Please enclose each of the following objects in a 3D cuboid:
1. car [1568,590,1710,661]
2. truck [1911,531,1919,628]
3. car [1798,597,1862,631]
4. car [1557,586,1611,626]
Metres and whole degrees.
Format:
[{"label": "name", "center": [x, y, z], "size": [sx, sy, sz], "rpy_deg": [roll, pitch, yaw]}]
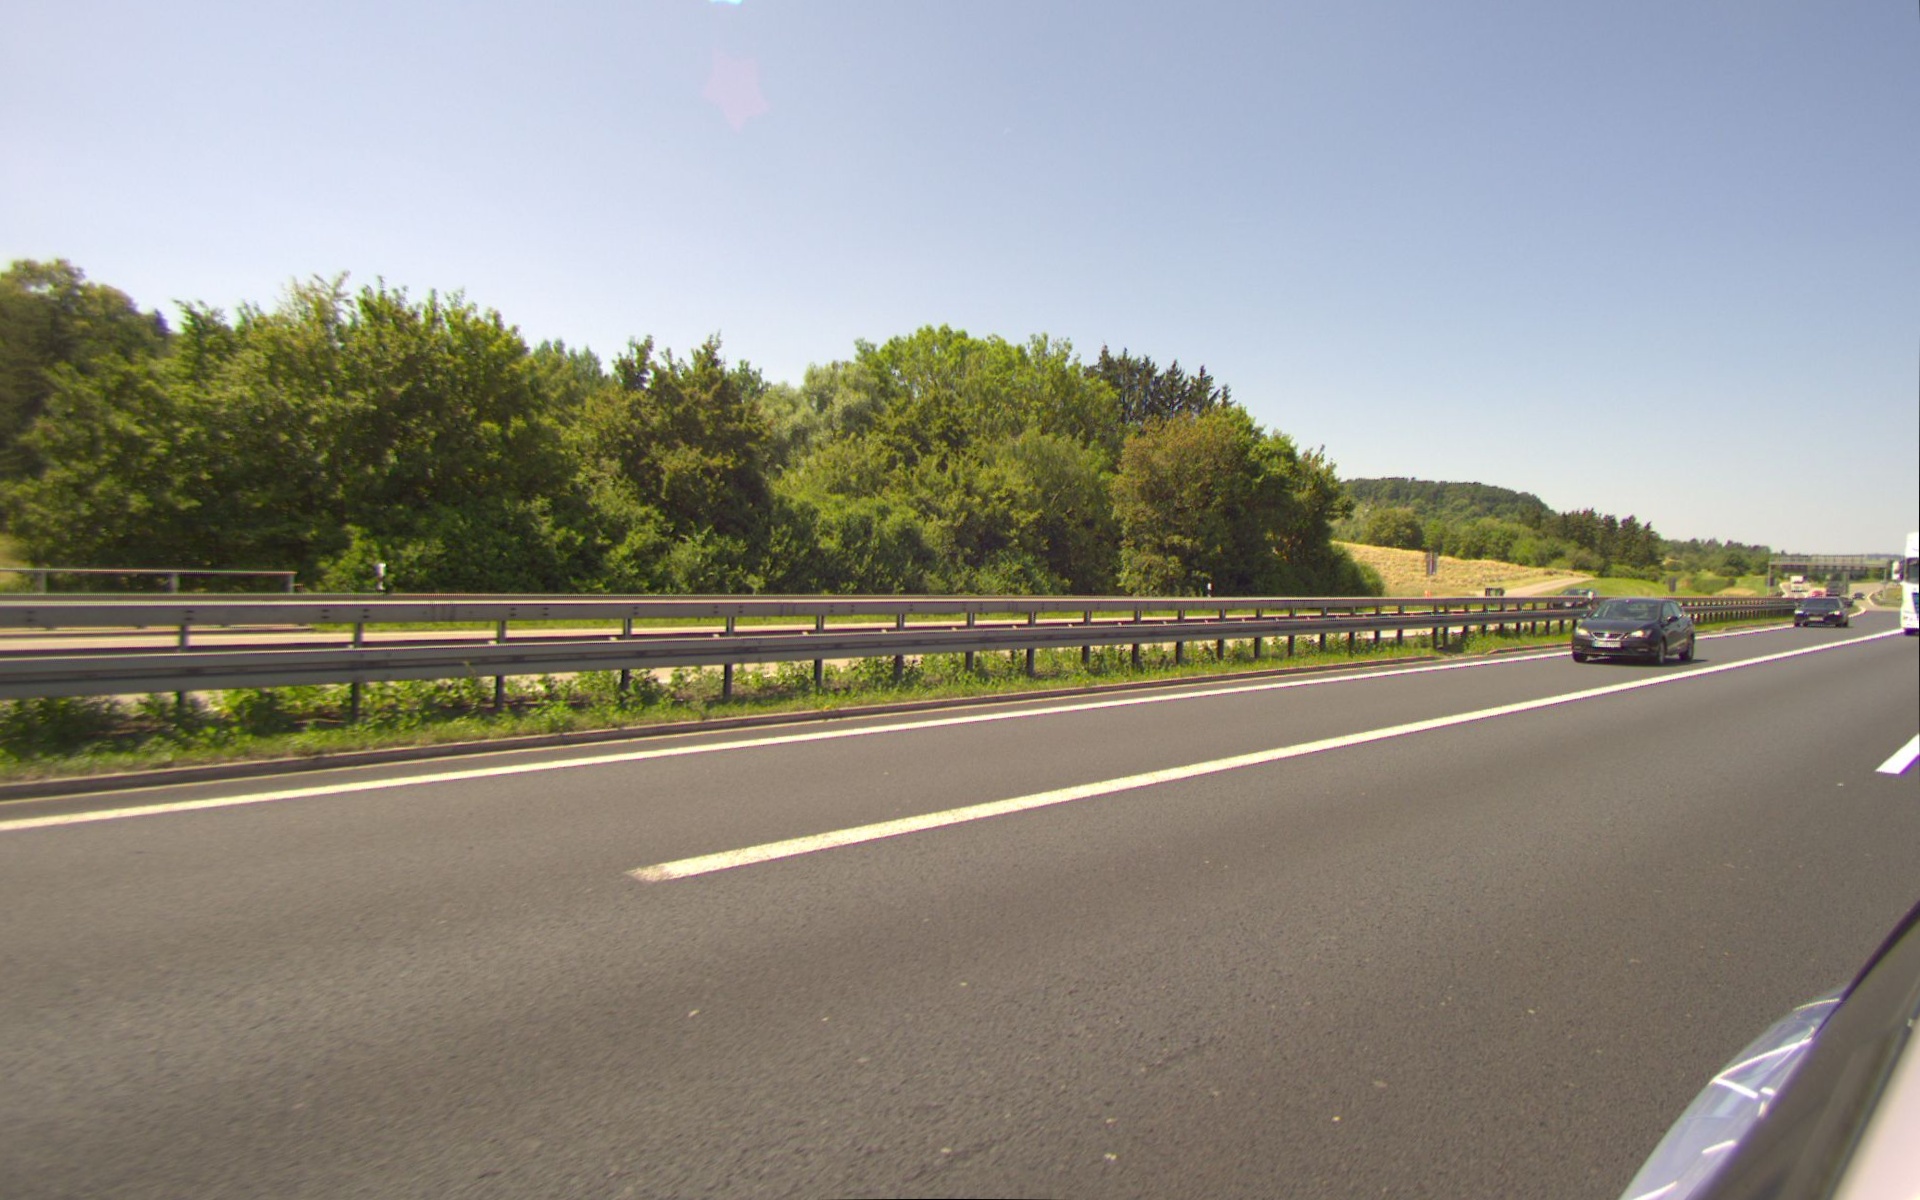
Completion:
[{"label": "car", "center": [15.134, 0.502, 22.504], "size": [3.696, 1.417, 1.779], "rpy_deg": [-1, 1, -42]}, {"label": "truck", "center": [38.344, -0.765, 38.656], "size": [4.329, 3.638, 2.645], "rpy_deg": [-1, 1, -43]}, {"label": "car", "center": [41.582, 0.629, 48.339], "size": [3.802, 1.491, 1.889], "rpy_deg": [-1, 1, -43]}, {"label": "car", "center": [33.810, 0.285, 54.802], "size": [1.991, 2.039, 3.943], "rpy_deg": [1, 1, 40]}]
